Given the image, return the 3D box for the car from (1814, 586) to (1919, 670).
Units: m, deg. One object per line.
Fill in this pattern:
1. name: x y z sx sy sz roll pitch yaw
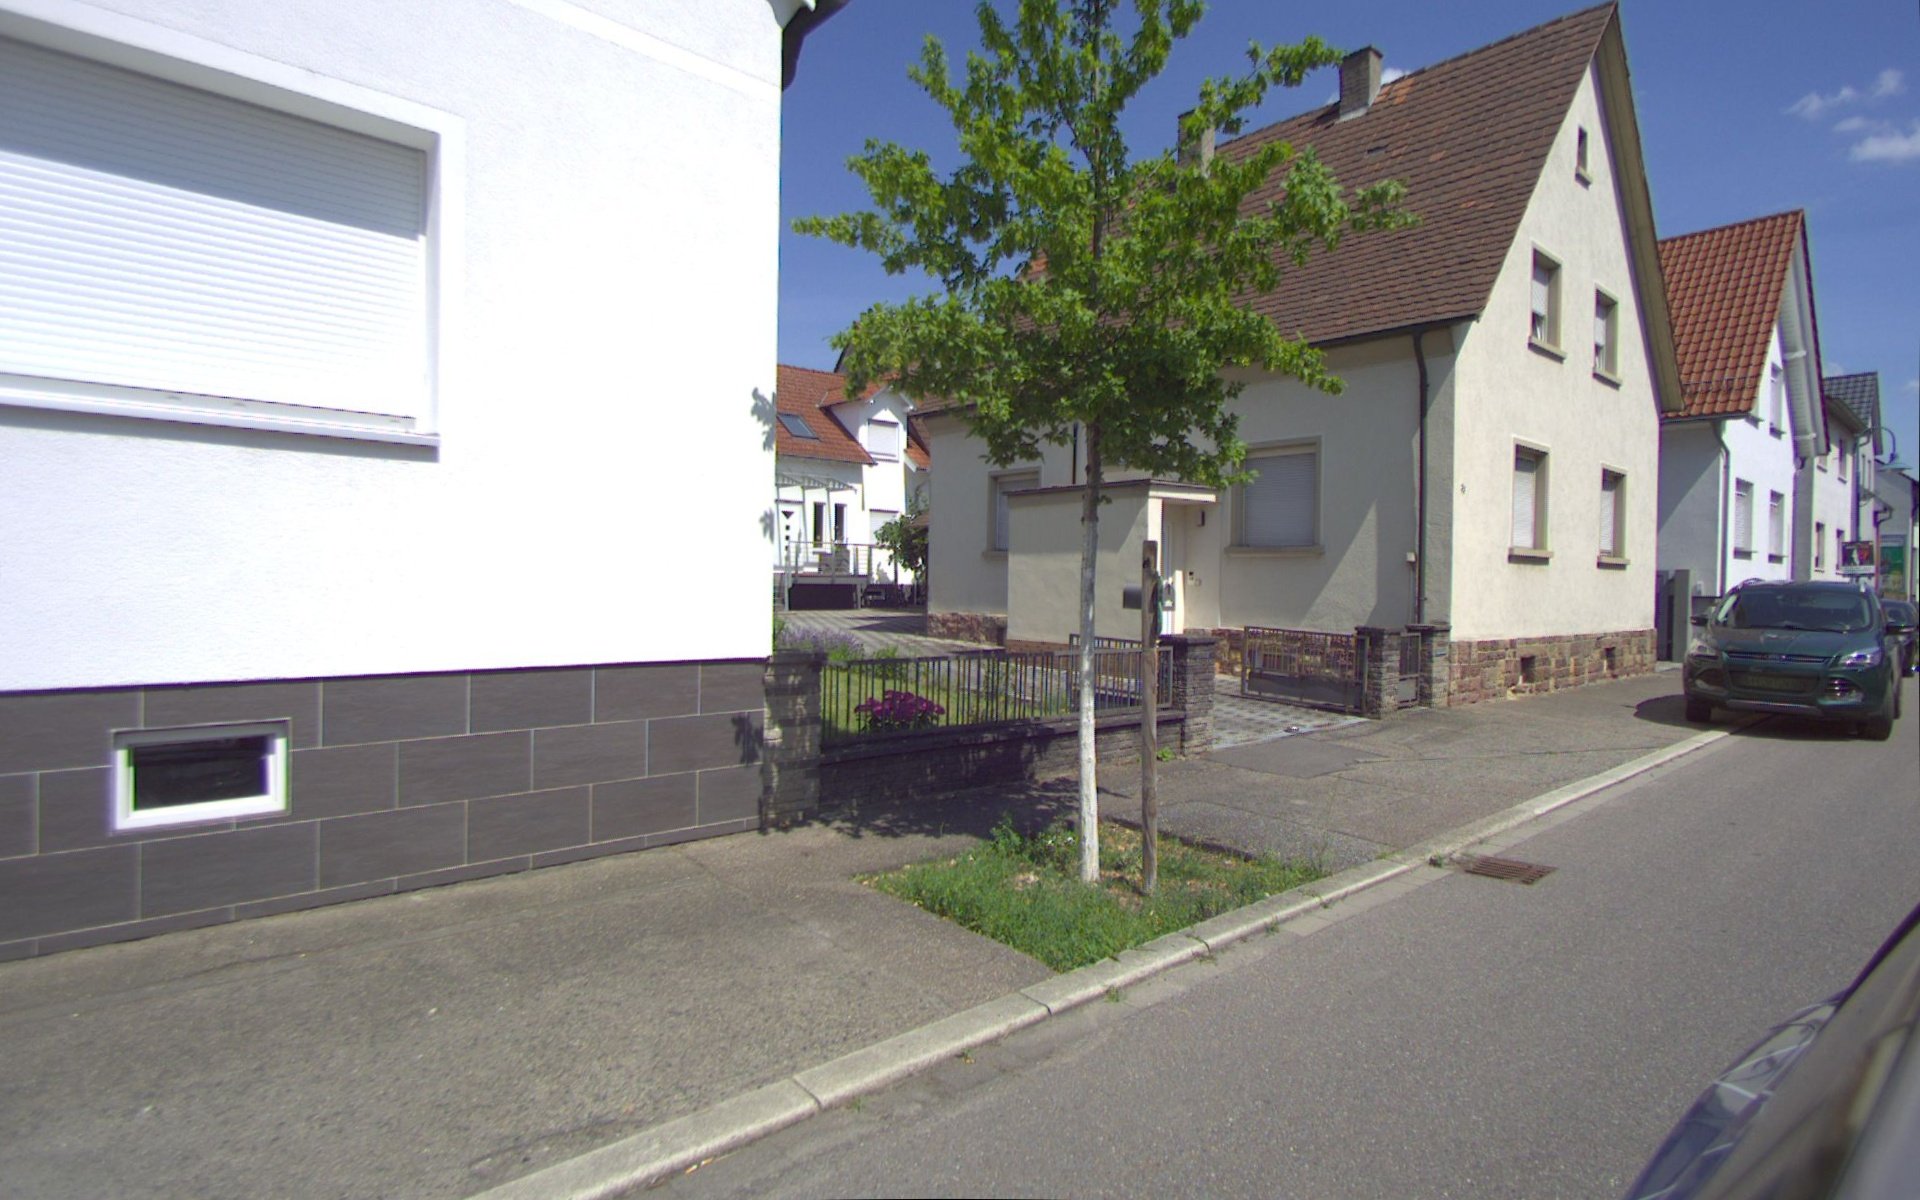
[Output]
1. car: 19.173 0.514 21.038 3.904 1.514 1.620 0 4 -42

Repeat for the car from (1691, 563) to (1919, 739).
1. car: 10.223 0.475 12.083 4.205 1.738 1.730 0 1 -44
